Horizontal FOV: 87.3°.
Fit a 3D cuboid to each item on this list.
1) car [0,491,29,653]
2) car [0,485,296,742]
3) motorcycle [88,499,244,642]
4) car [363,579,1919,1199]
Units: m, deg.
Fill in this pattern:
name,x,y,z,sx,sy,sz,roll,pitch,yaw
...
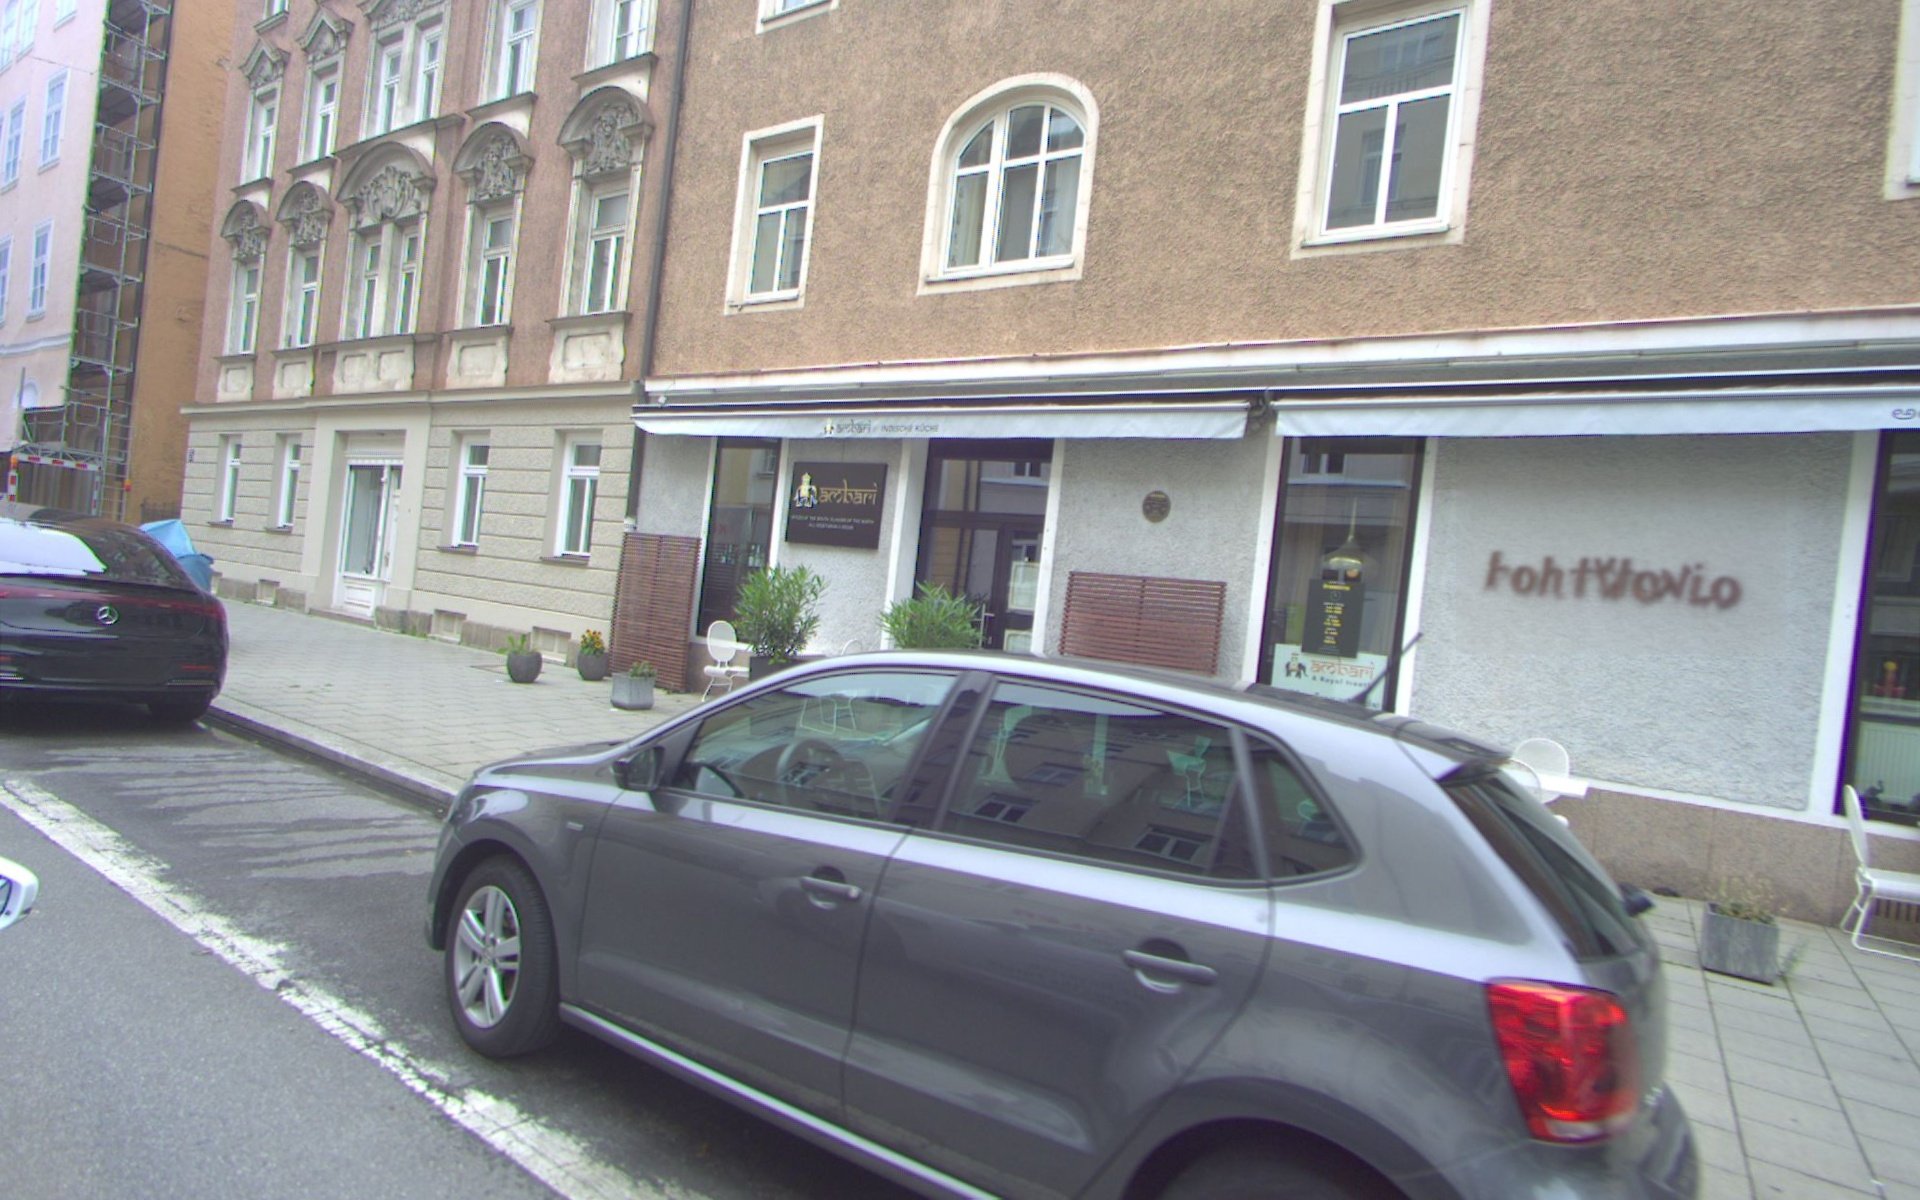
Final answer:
name,x,y,z,sx,sy,sz,roll,pitch,yaw
car,-12.315,-0.564,11.278,4.338,1.694,1.697,6,-4,35
car,-7.866,-0.112,8.192,5.545,1.571,1.933,6,-1,33
motorcycle,-9.672,-0.377,12.230,1.966,1.523,0.872,6,0,36
car,0.165,0.856,2.976,4.115,1.412,1.573,6,0,33
